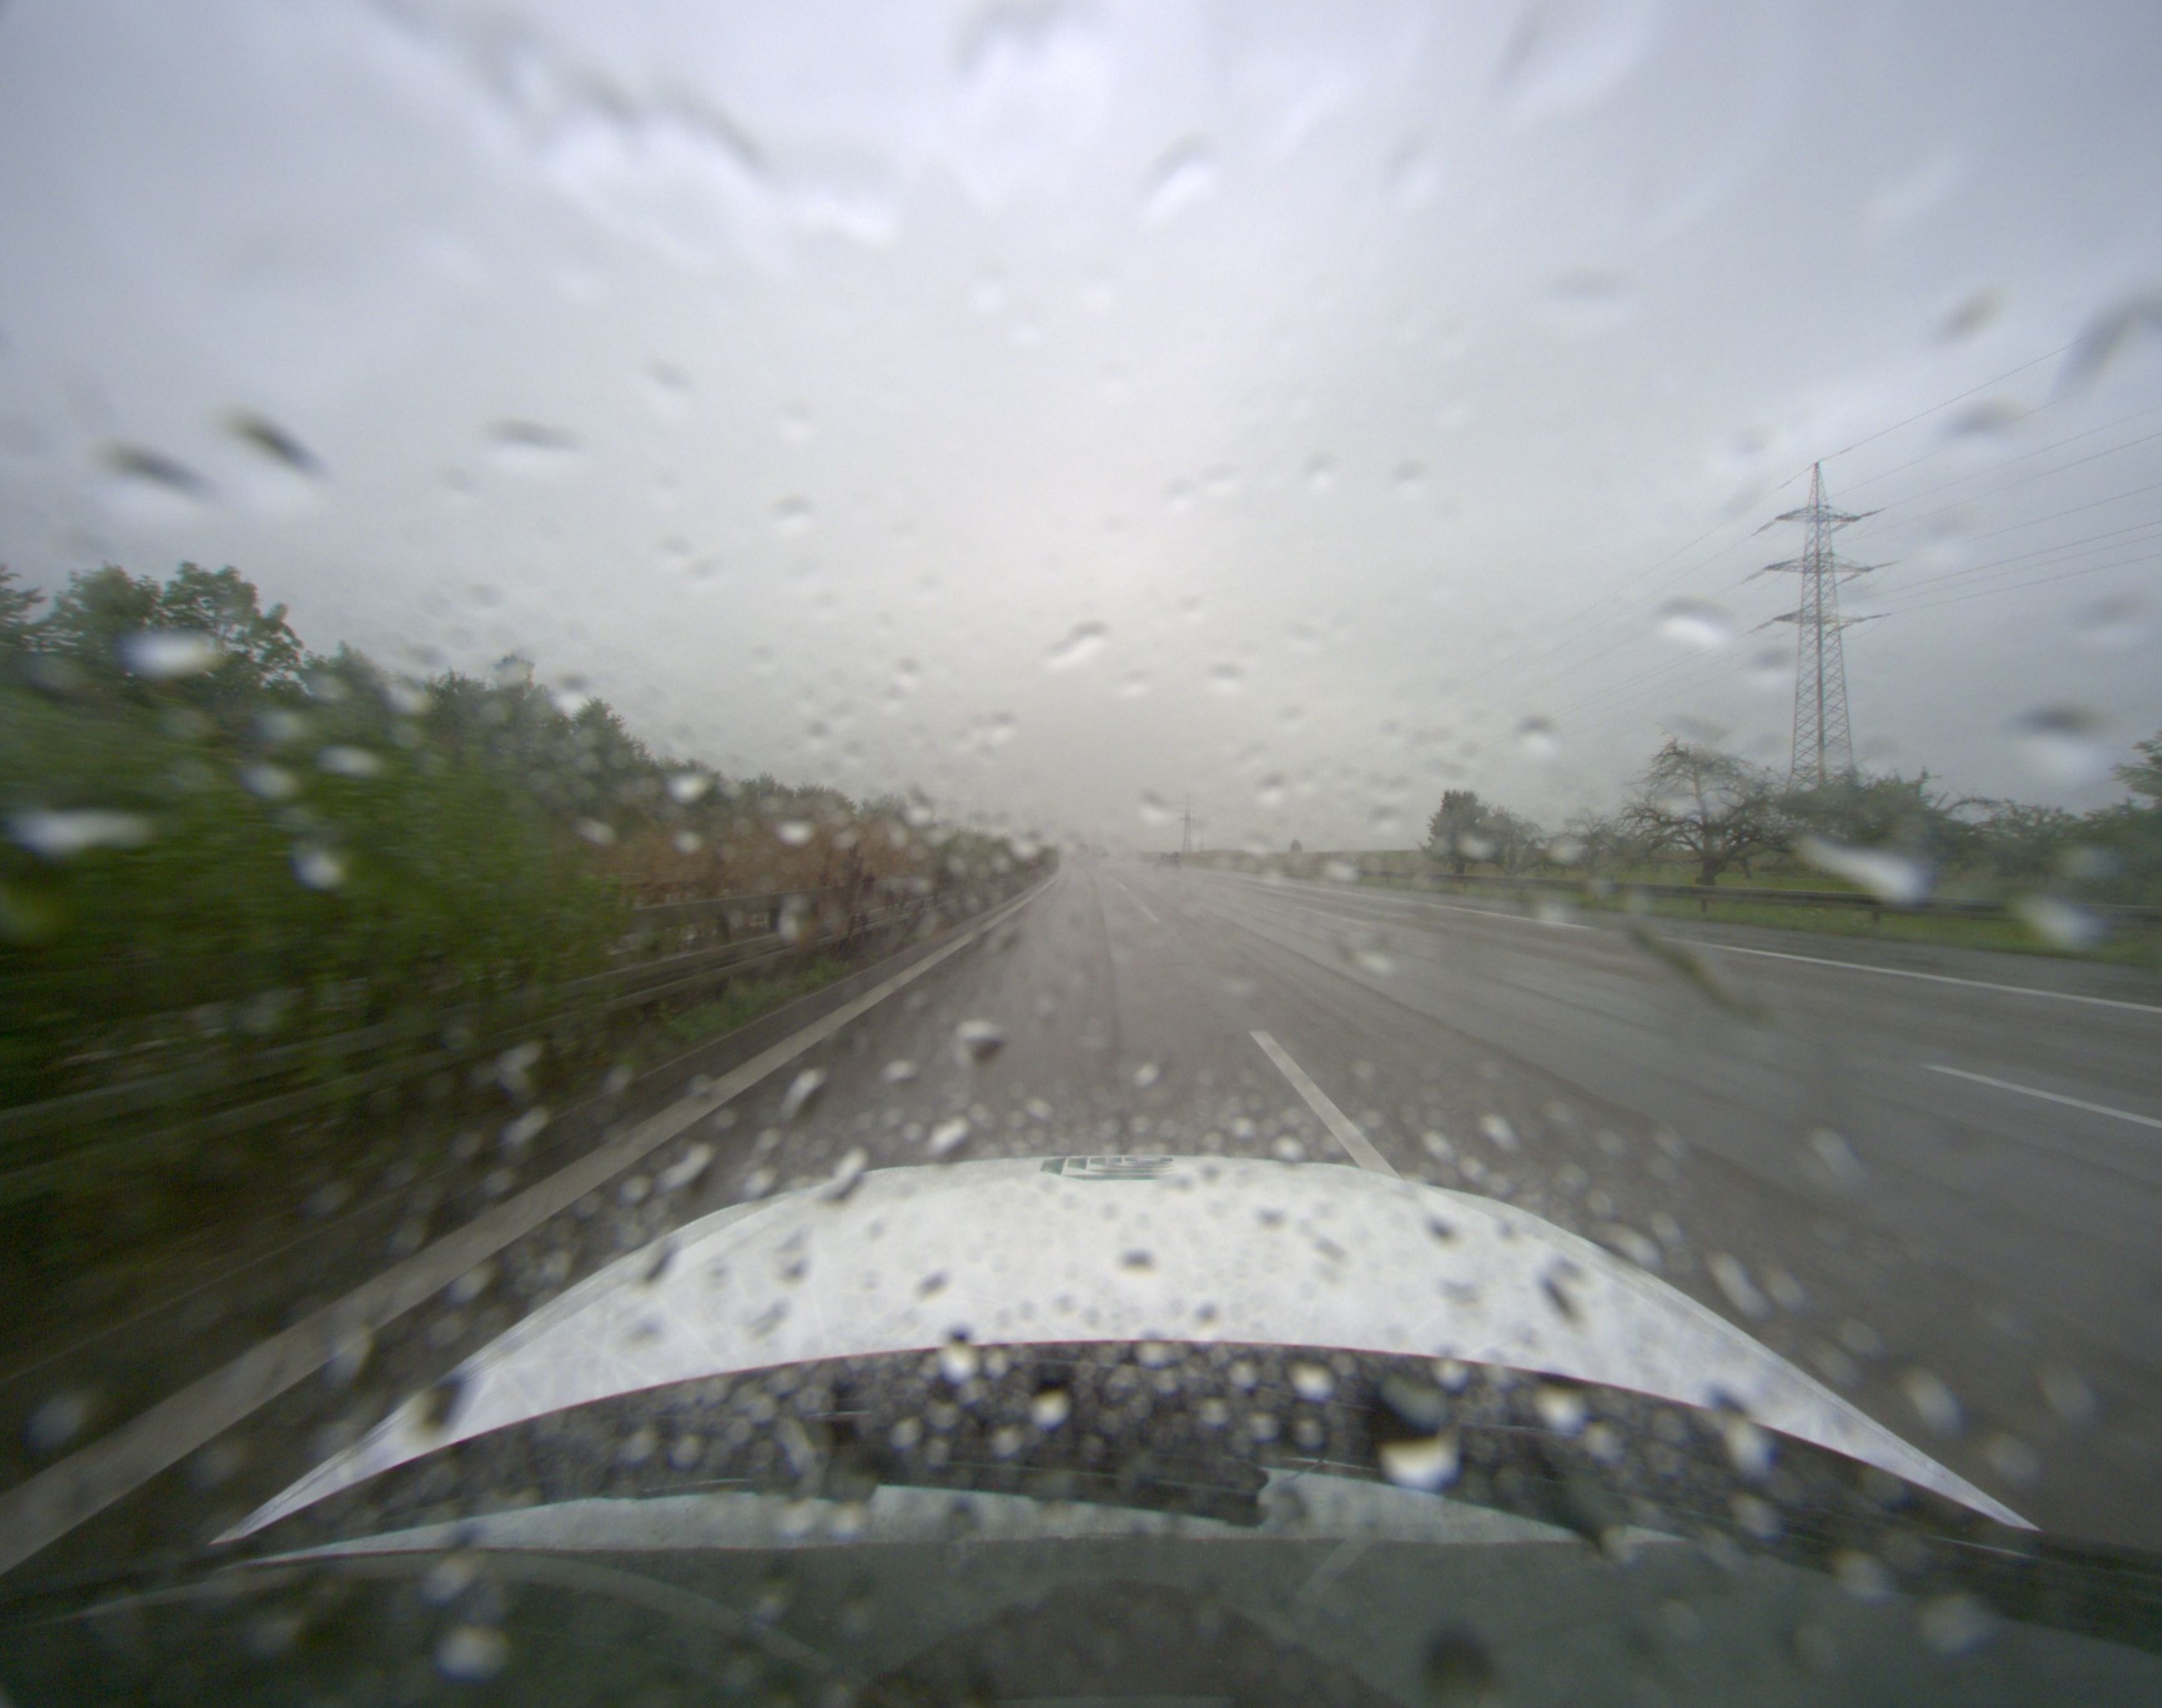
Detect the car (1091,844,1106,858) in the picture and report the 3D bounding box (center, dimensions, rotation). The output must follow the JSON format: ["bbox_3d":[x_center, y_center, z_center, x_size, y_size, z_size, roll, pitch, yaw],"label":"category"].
[{"bbox_3d":[4.359,-0.734,201.661,3.192,3.193,7.251,0,0,-2],"label":"car"}]

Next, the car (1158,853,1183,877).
[{"bbox_3d":[8.129,0.971,74.411,1.801,2.158,3.999,0,0,0],"label":"car"}]
